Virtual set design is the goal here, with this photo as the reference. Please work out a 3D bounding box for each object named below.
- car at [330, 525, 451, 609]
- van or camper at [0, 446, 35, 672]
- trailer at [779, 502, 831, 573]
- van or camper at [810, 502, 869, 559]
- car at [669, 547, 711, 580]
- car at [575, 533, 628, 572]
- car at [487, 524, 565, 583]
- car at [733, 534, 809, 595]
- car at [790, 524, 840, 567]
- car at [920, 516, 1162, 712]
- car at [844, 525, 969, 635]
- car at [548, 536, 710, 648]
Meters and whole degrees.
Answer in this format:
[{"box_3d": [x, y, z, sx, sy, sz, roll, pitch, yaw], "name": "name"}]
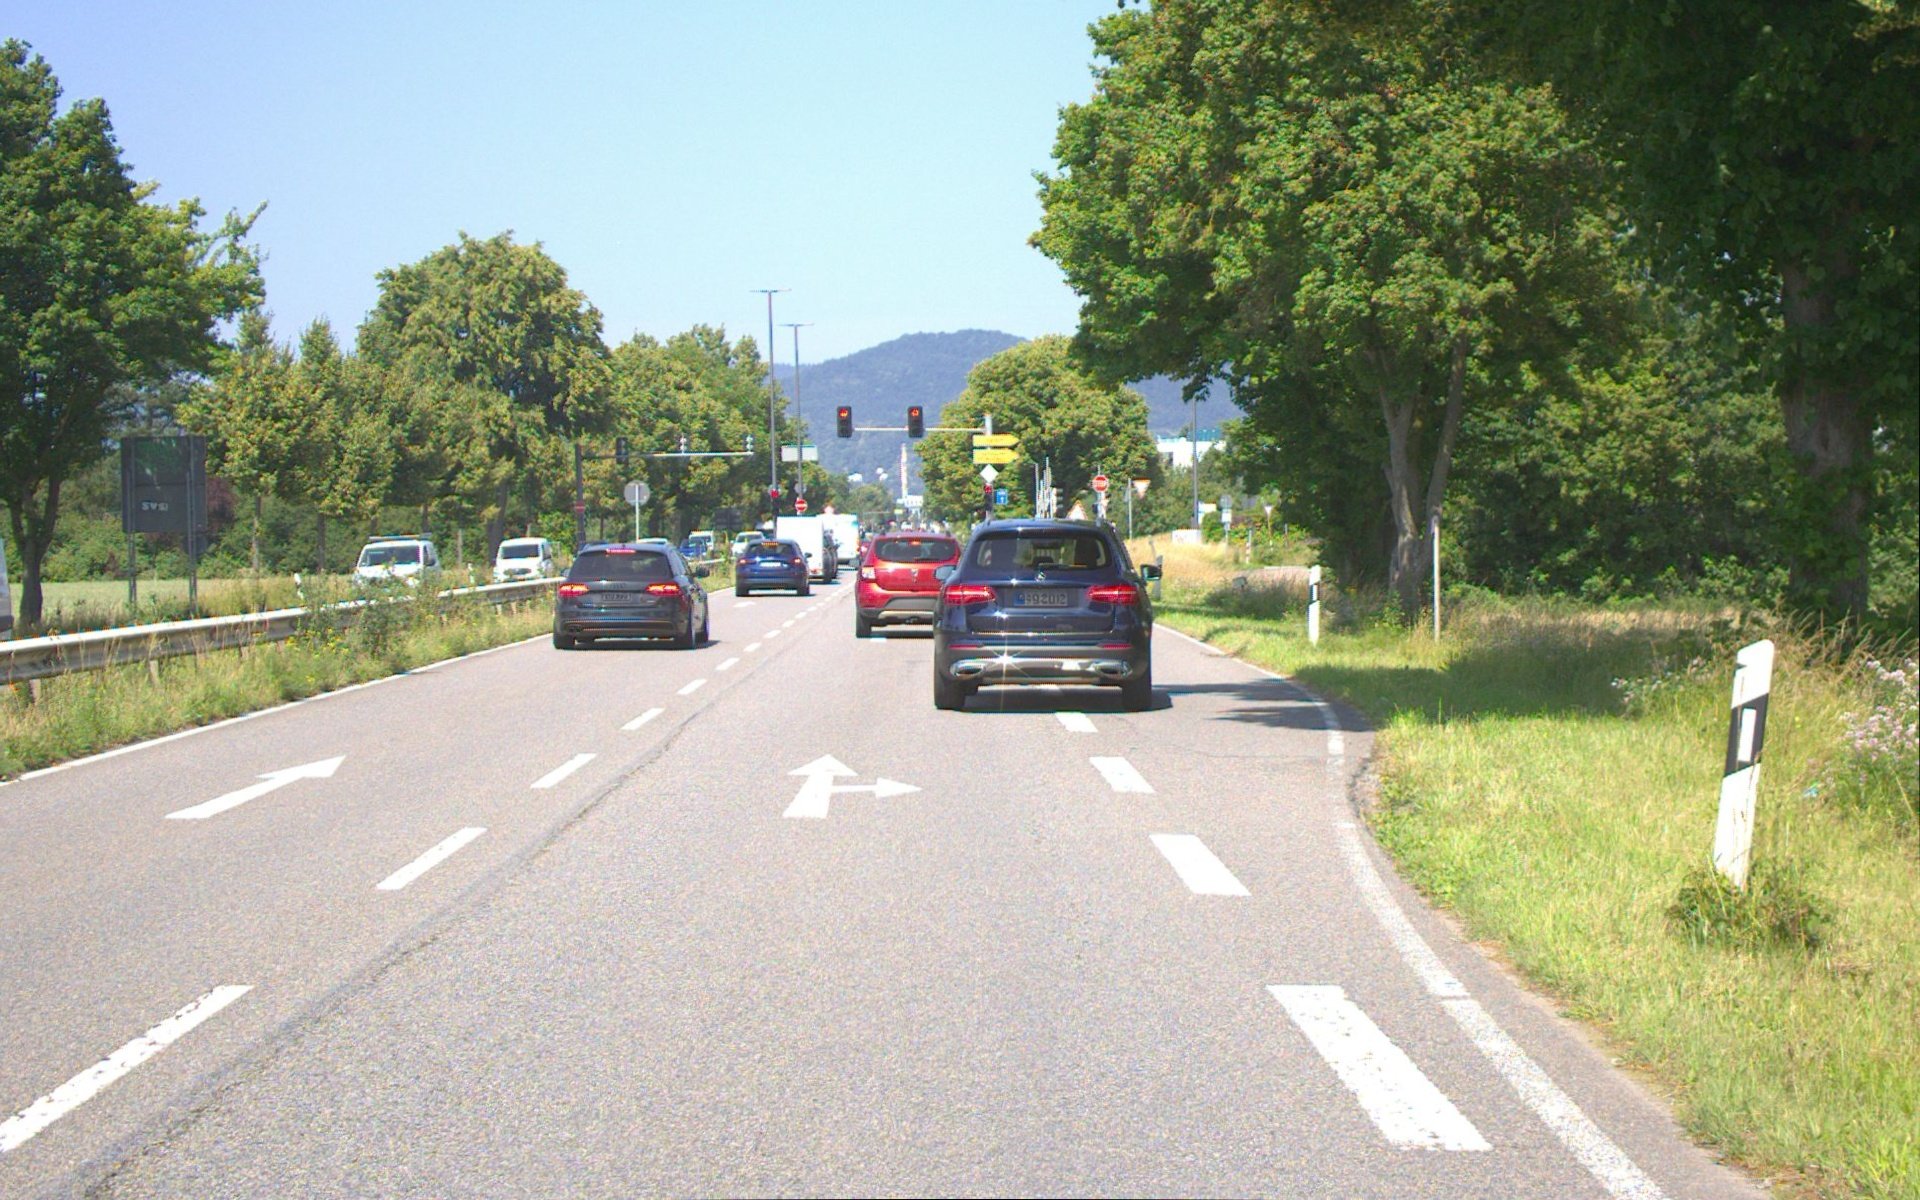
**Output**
[{"box_3d": [-14.304, -0.849, 86.537, 2.038, 2.007, 4.532, -1, 1, 3], "name": "car"}, {"box_3d": [-13.653, -0.462, 42.659, 2.385, 2.938, 7.092, -2, 1, 0], "name": "van or camper"}, {"box_3d": [-4.793, -1.937, 106.459, 1.500, 2.166, 4.174, 0, 1, -1], "name": "trailer"}, {"box_3d": [-4.960, -2.880, 142.212, 2.179, 2.295, 4.827, -2, 1, 0], "name": "van or camper"}, {"box_3d": [-14.460, -1.966, 184.318, 1.993, 1.657, 4.481, -1, 1, -1], "name": "car"}, {"box_3d": [-16.068, -2.144, 154.132, 1.993, 1.657, 4.481, -1, 1, -1], "name": "car"}, {"box_3d": [-15.282, -1.660, 121.284, 1.993, 1.954, 4.927, -2, 1, 1], "name": "car"}, {"box_3d": [-4.722, -0.910, 86.298, 1.717, 1.460, 4.030, -1, 1, -1], "name": "car"}, {"box_3d": [-5.558, -2.100, 132.044, 1.724, 1.594, 3.956, -2, 1, 0], "name": "car"}, {"box_3d": [0.699, 0.069, 30.457, 1.993, 1.611, 4.339, 0, 1, 1], "name": "car"}, {"box_3d": [-0.765, -0.320, 51.112, 1.749, 1.570, 3.676, 0, 1, 1], "name": "car"}, {"box_3d": [-4.380, -0.144, 46.050, 1.740, 1.375, 4.455, -2, 1, 0], "name": "car"}]
